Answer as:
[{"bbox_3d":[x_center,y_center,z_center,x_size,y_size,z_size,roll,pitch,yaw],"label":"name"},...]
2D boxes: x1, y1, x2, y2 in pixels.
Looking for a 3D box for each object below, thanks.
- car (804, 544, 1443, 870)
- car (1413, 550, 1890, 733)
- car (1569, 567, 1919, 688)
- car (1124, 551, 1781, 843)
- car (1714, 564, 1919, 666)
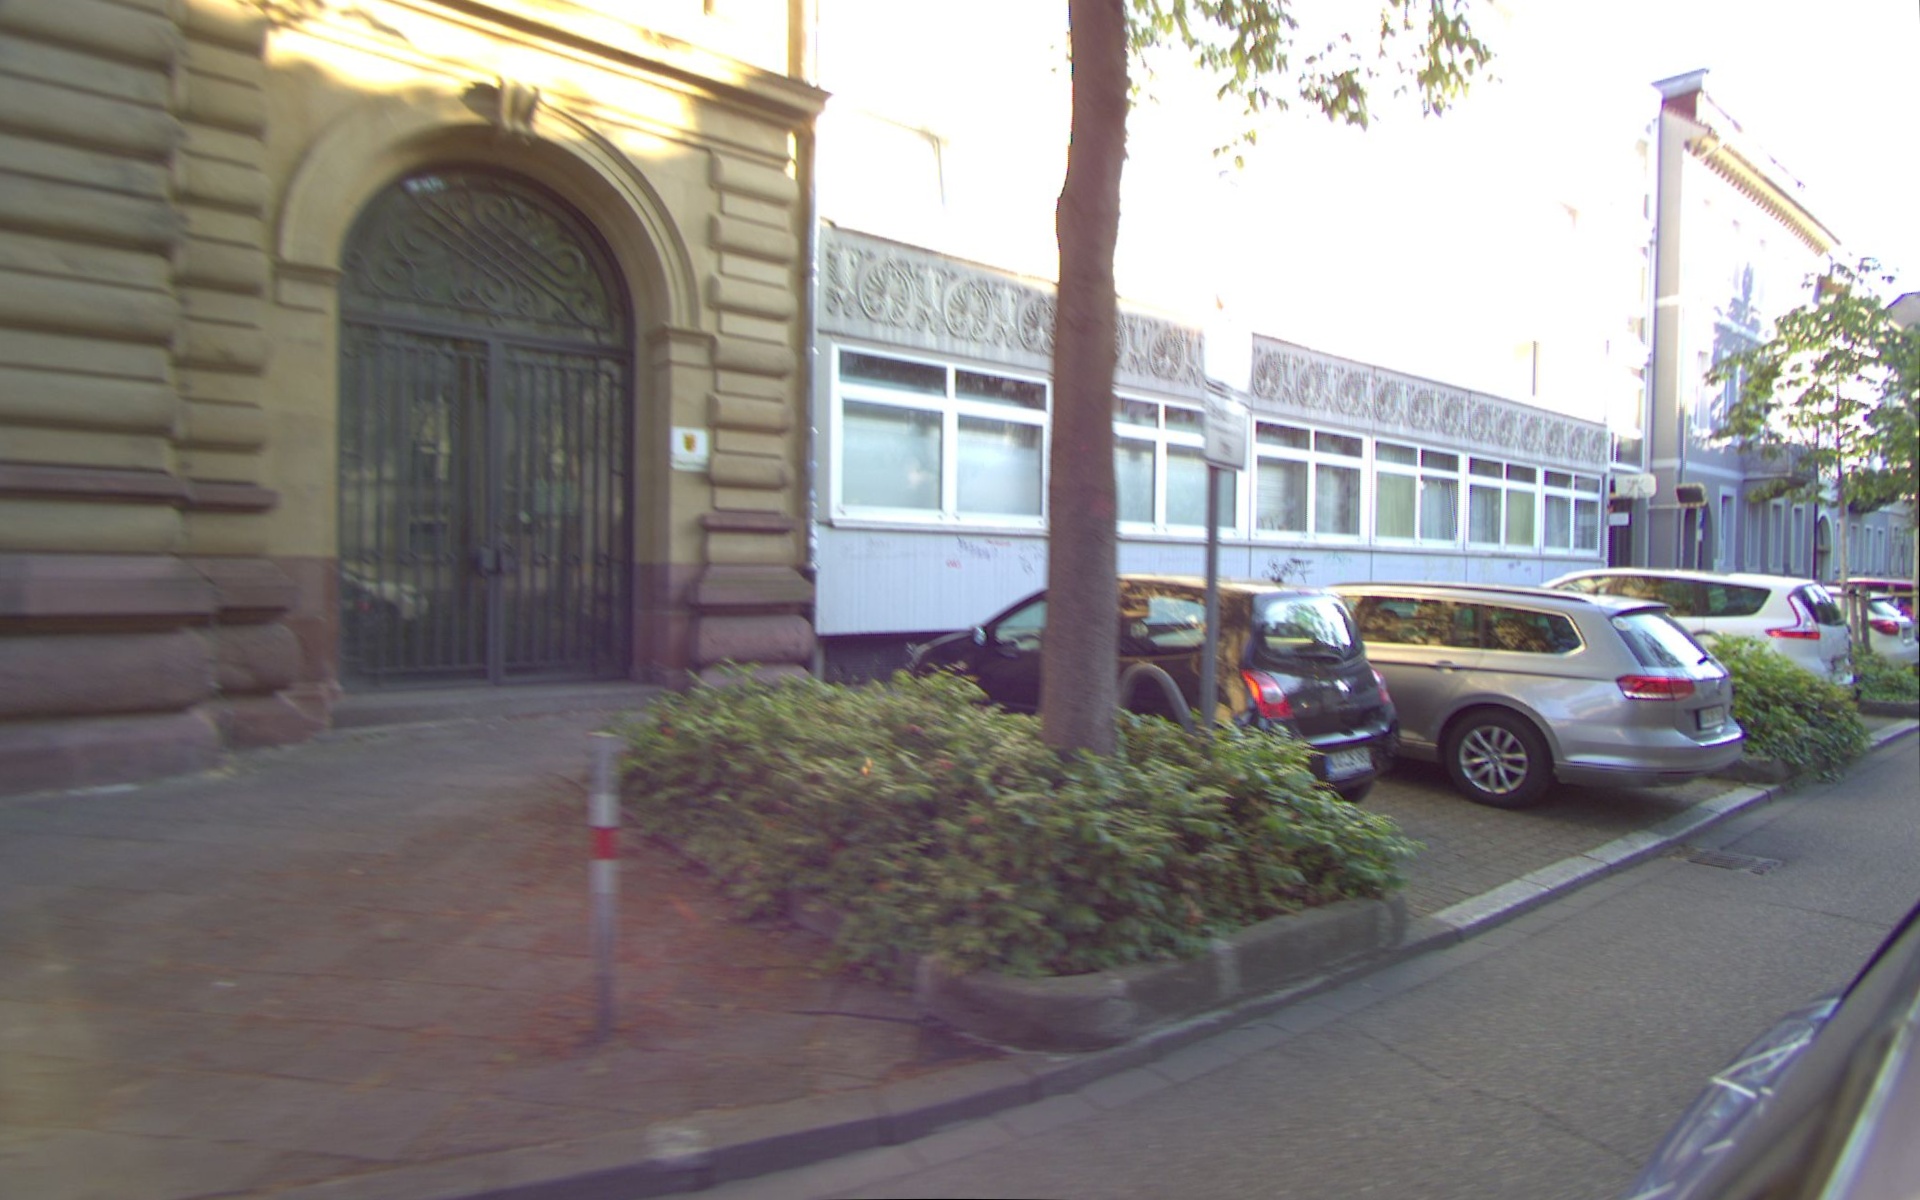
[{"bbox_3d":[0.838,0.436,7.293,1.802,1.481,4.367,-1,5,-41],"label":"car"},{"bbox_3d":[8.194,0.322,12.369,2.018,1.662,4.369,-1,5,-40],"label":"car"},{"bbox_3d":[12.548,0.314,16.233,1.853,1.511,4.368,-1,4,-40],"label":"car"},{"bbox_3d":[3.507,0.467,8.046,1.642,1.513,4.371,-1,5,-38],"label":"car"},{"bbox_3d":[16.856,0.258,18.697,1.703,1.643,4.368,-1,4,-40],"label":"car"}]
